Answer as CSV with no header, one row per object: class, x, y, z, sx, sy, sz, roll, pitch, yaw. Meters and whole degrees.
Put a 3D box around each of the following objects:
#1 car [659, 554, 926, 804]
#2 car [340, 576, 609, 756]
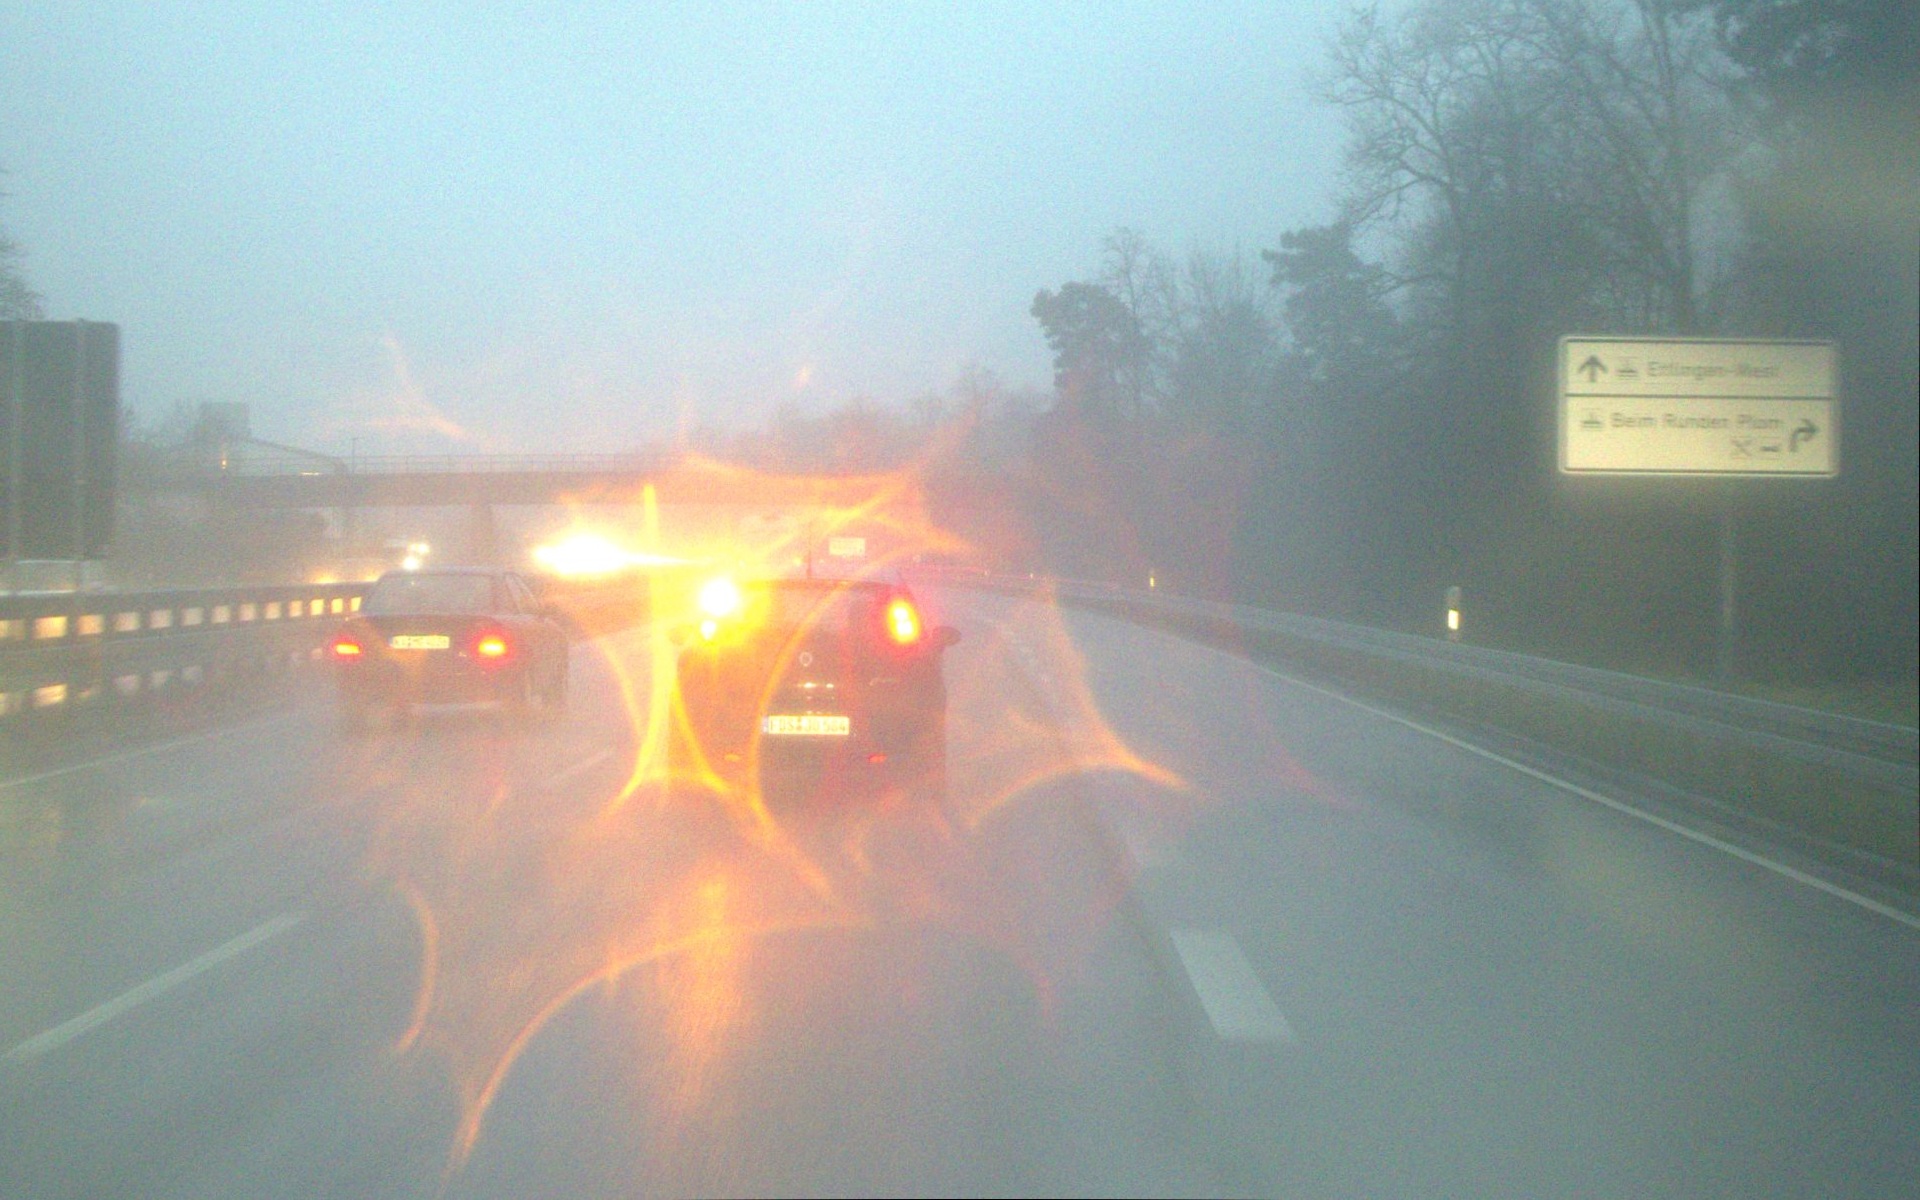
car,-1.028,0.453,22.442,1.527,1.411,3.479,3,1,0
car,-4.471,0.562,32.316,1.776,1.529,4.702,-1,0,1
